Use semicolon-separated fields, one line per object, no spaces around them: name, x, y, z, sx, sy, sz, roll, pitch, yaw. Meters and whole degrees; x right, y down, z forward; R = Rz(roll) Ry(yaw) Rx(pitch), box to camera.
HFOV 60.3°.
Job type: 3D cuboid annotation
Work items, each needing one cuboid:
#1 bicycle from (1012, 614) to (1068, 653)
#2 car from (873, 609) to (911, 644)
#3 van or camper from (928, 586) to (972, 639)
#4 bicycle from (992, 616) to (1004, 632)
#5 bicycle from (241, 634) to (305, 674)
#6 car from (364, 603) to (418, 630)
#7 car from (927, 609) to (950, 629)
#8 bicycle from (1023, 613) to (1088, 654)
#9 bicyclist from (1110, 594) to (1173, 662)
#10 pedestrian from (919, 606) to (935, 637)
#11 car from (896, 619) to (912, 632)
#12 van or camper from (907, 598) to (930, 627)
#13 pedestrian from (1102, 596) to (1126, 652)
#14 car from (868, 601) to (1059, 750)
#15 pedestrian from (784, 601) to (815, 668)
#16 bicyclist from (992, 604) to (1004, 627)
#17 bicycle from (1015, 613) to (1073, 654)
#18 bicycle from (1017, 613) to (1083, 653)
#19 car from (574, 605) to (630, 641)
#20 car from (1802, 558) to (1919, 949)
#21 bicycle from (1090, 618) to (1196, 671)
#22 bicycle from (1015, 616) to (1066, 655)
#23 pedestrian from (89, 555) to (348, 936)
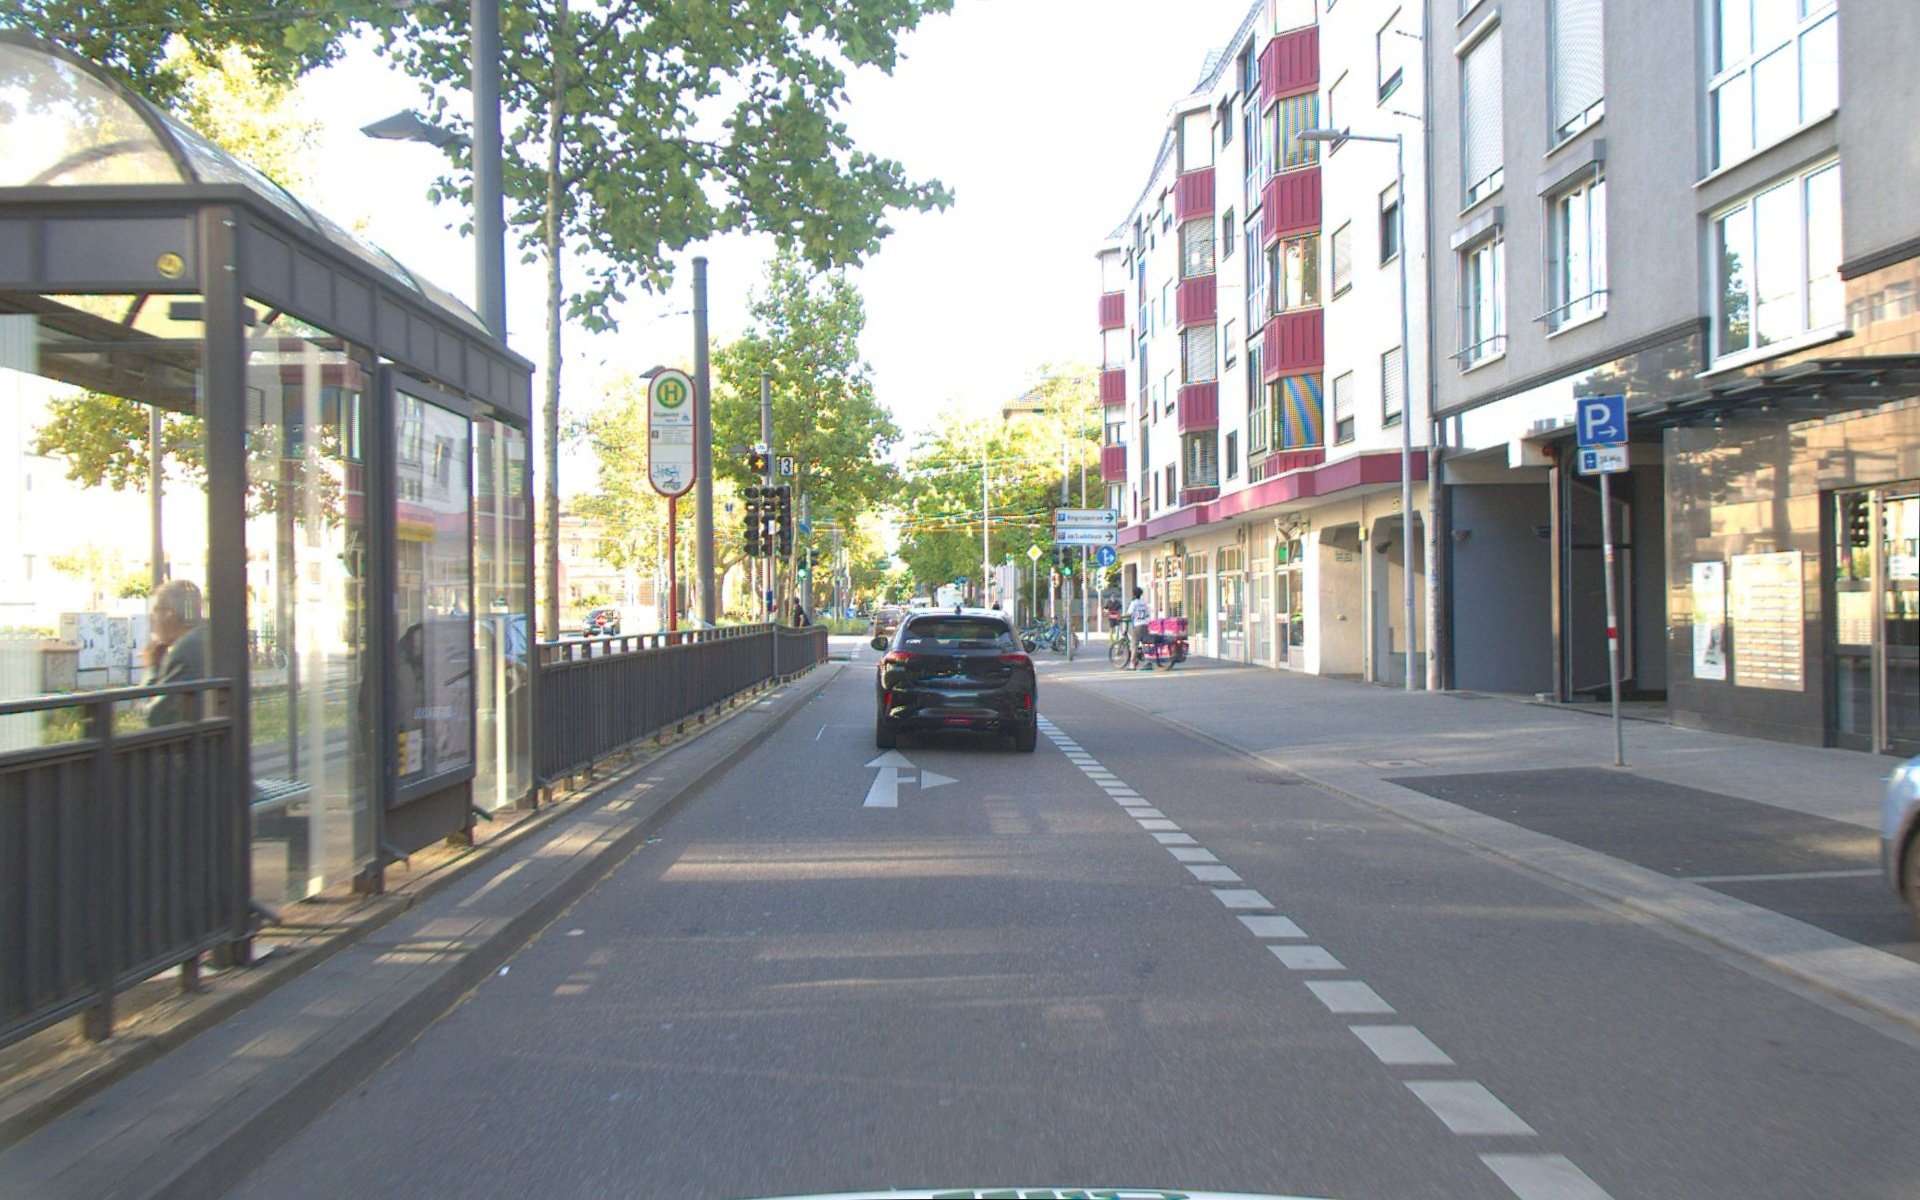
bicycle;2.586;1.081;53.602;1.764;1.220;0.546;-1;-2;2
car;-3.360;1.304;82.286;1.795;1.651;4.283;1;0;-1
van or camper;-0.677;0.801;107.860;2.329;3.179;7.545;-4;0;-3
bicycle;2.519;1.587;109.757;0.626;1.089;1.950;-1;-1;-2
bicycle;-17.286;1.353;41.679;0.796;0.962;1.726;-1;0;4
car;-38.234;1.101;111.181;1.952;1.733;4.379;-1;0;2
car;-1.741;1.567;134.542;1.754;1.536;3.872;-2;0;-2
bicycle;2.921;1.026;50.800;1.902;1.191;0.571;-1;-1;-5
bicyclist;4.295;0.655;39.146;1.050;1.567;1.064;-1;-1;-39
pedestrian;-2.232;1.418;111.260;1.015;2.059;1.211;0;-1;-3
car;-6.596;3.051;195.655;1.866;1.450;4.214;-1;0;-1
van or camper;-4.494;1.349;181.036;2.436;3.046;5.432;1;-1;-1
pedestrian;5.238;0.820;56.337;0.708;1.890;0.800;-1;-1;-3
car;-0.008;0.751;18.428;1.866;1.450;4.214;-1;0;-1
pedestrian;-4.311;0.914;44.552;0.719;1.777;0.712;0;0;3
bicyclist;2.504;1.009;109.741;0.733;1.536;0.702;-1;-1;-1
bicycle;2.645;1.055;52.287;1.793;1.242;0.496;-1;0;1
bicycle;2.793;1.021;51.413;1.939;1.220;0.590;-1;-1;-7
car;-20.638;1.323;95.528;1.951;1.982;4.426;-1;0;4
car;4.945;0.592;5.653;1.796;1.651;4.283;-3;0;-1
bicycle;4.308;1.044;39.137;0.954;1.204;2.561;-1;0;-39
bicycle;2.581;1.131;52.855;1.589;1.220;0.496;-1;-1;2
pedestrian;-2.774;0.515;6.257;0.613;1.342;0.801;-1;0;-1
